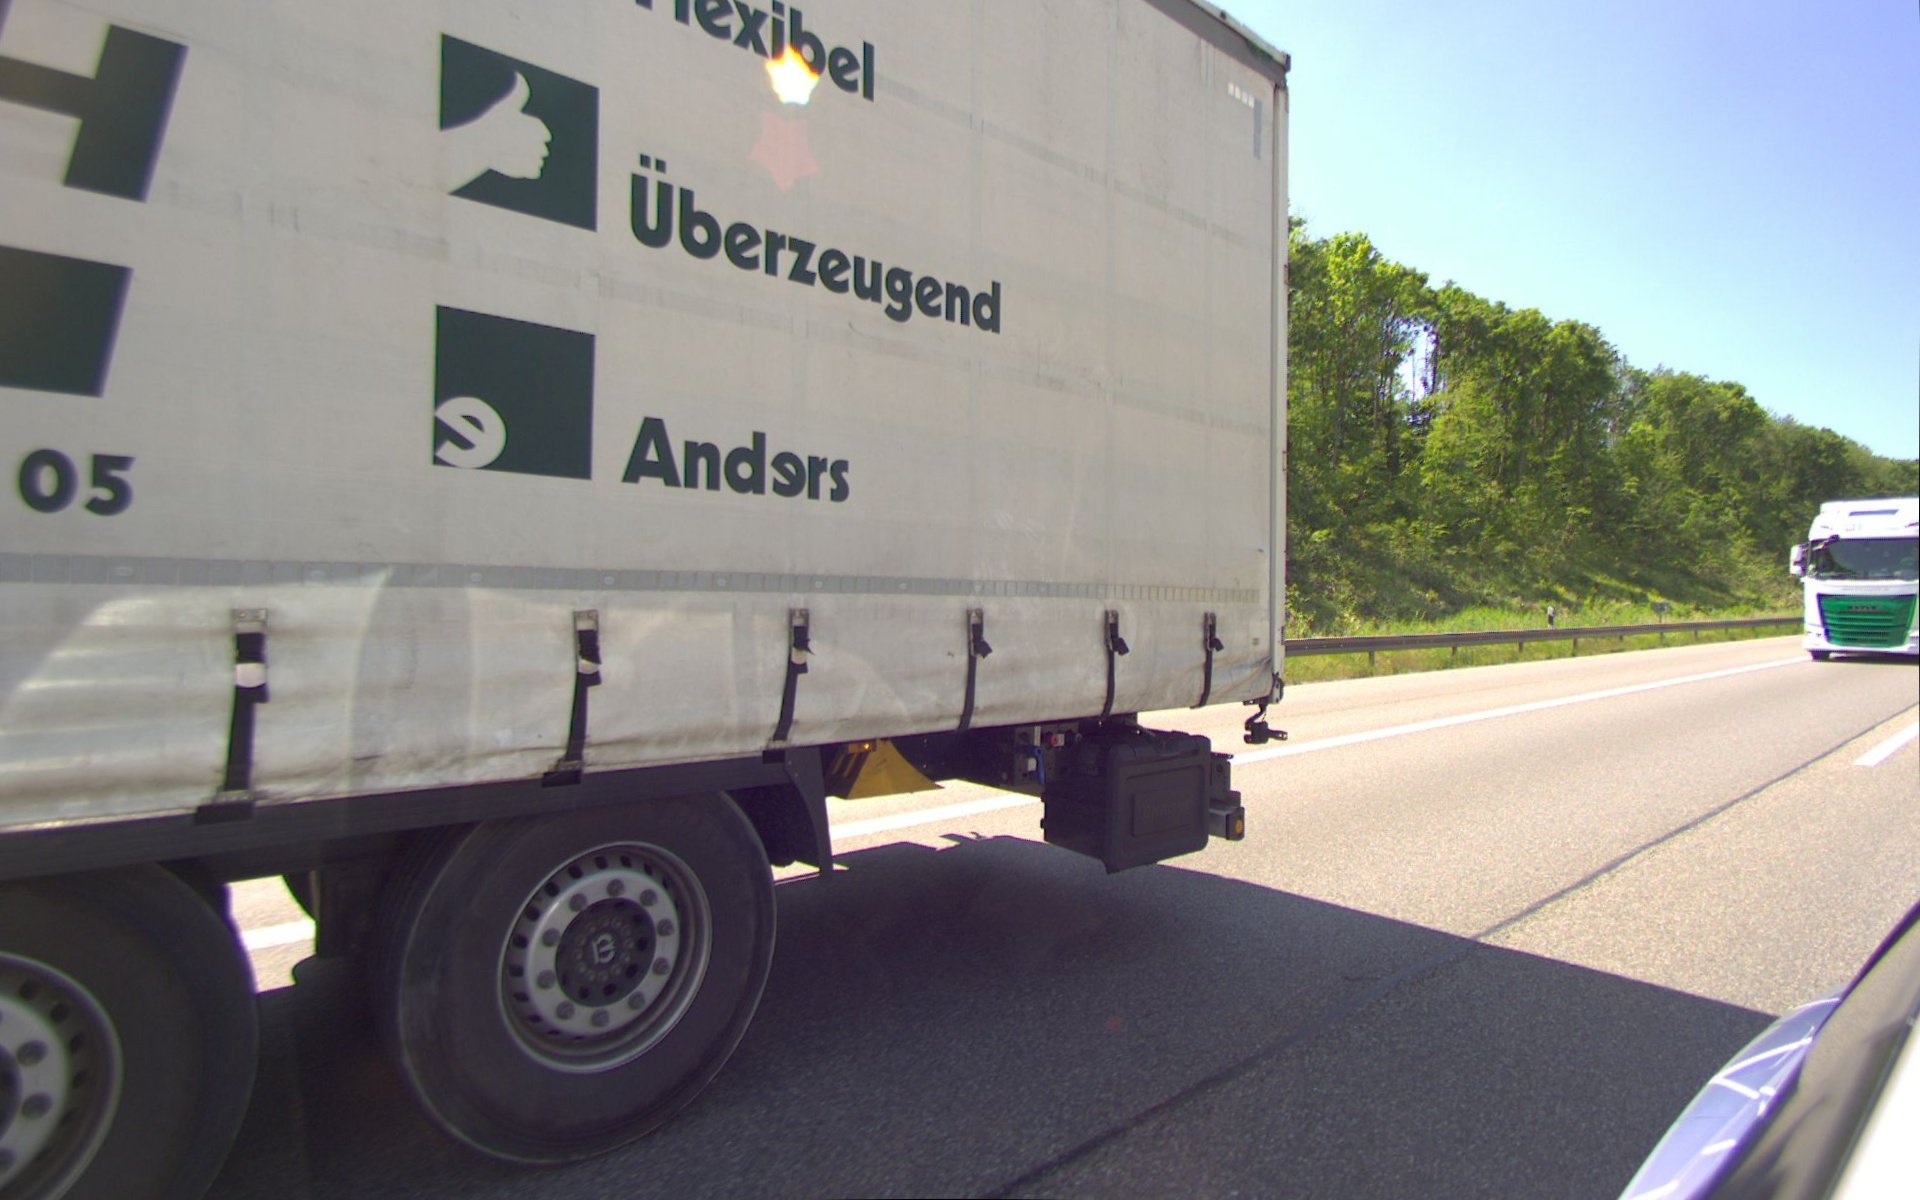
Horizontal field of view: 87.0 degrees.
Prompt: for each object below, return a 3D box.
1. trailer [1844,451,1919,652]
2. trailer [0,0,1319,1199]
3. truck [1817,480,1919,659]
[{"bbox_3d":[30.004,-1.335,30.724,15.003,5.103,2.572,-1,1,-40],"label":"trailer"},{"bbox_3d":[-4.228,-0.782,1.394,13.007,4.259,2.791,1,-1,-40],"label":"trailer"},{"bbox_3d":[24.013,-0.744,25.664,6.510,4.080,2.540,-1,1,-41],"label":"truck"}]
